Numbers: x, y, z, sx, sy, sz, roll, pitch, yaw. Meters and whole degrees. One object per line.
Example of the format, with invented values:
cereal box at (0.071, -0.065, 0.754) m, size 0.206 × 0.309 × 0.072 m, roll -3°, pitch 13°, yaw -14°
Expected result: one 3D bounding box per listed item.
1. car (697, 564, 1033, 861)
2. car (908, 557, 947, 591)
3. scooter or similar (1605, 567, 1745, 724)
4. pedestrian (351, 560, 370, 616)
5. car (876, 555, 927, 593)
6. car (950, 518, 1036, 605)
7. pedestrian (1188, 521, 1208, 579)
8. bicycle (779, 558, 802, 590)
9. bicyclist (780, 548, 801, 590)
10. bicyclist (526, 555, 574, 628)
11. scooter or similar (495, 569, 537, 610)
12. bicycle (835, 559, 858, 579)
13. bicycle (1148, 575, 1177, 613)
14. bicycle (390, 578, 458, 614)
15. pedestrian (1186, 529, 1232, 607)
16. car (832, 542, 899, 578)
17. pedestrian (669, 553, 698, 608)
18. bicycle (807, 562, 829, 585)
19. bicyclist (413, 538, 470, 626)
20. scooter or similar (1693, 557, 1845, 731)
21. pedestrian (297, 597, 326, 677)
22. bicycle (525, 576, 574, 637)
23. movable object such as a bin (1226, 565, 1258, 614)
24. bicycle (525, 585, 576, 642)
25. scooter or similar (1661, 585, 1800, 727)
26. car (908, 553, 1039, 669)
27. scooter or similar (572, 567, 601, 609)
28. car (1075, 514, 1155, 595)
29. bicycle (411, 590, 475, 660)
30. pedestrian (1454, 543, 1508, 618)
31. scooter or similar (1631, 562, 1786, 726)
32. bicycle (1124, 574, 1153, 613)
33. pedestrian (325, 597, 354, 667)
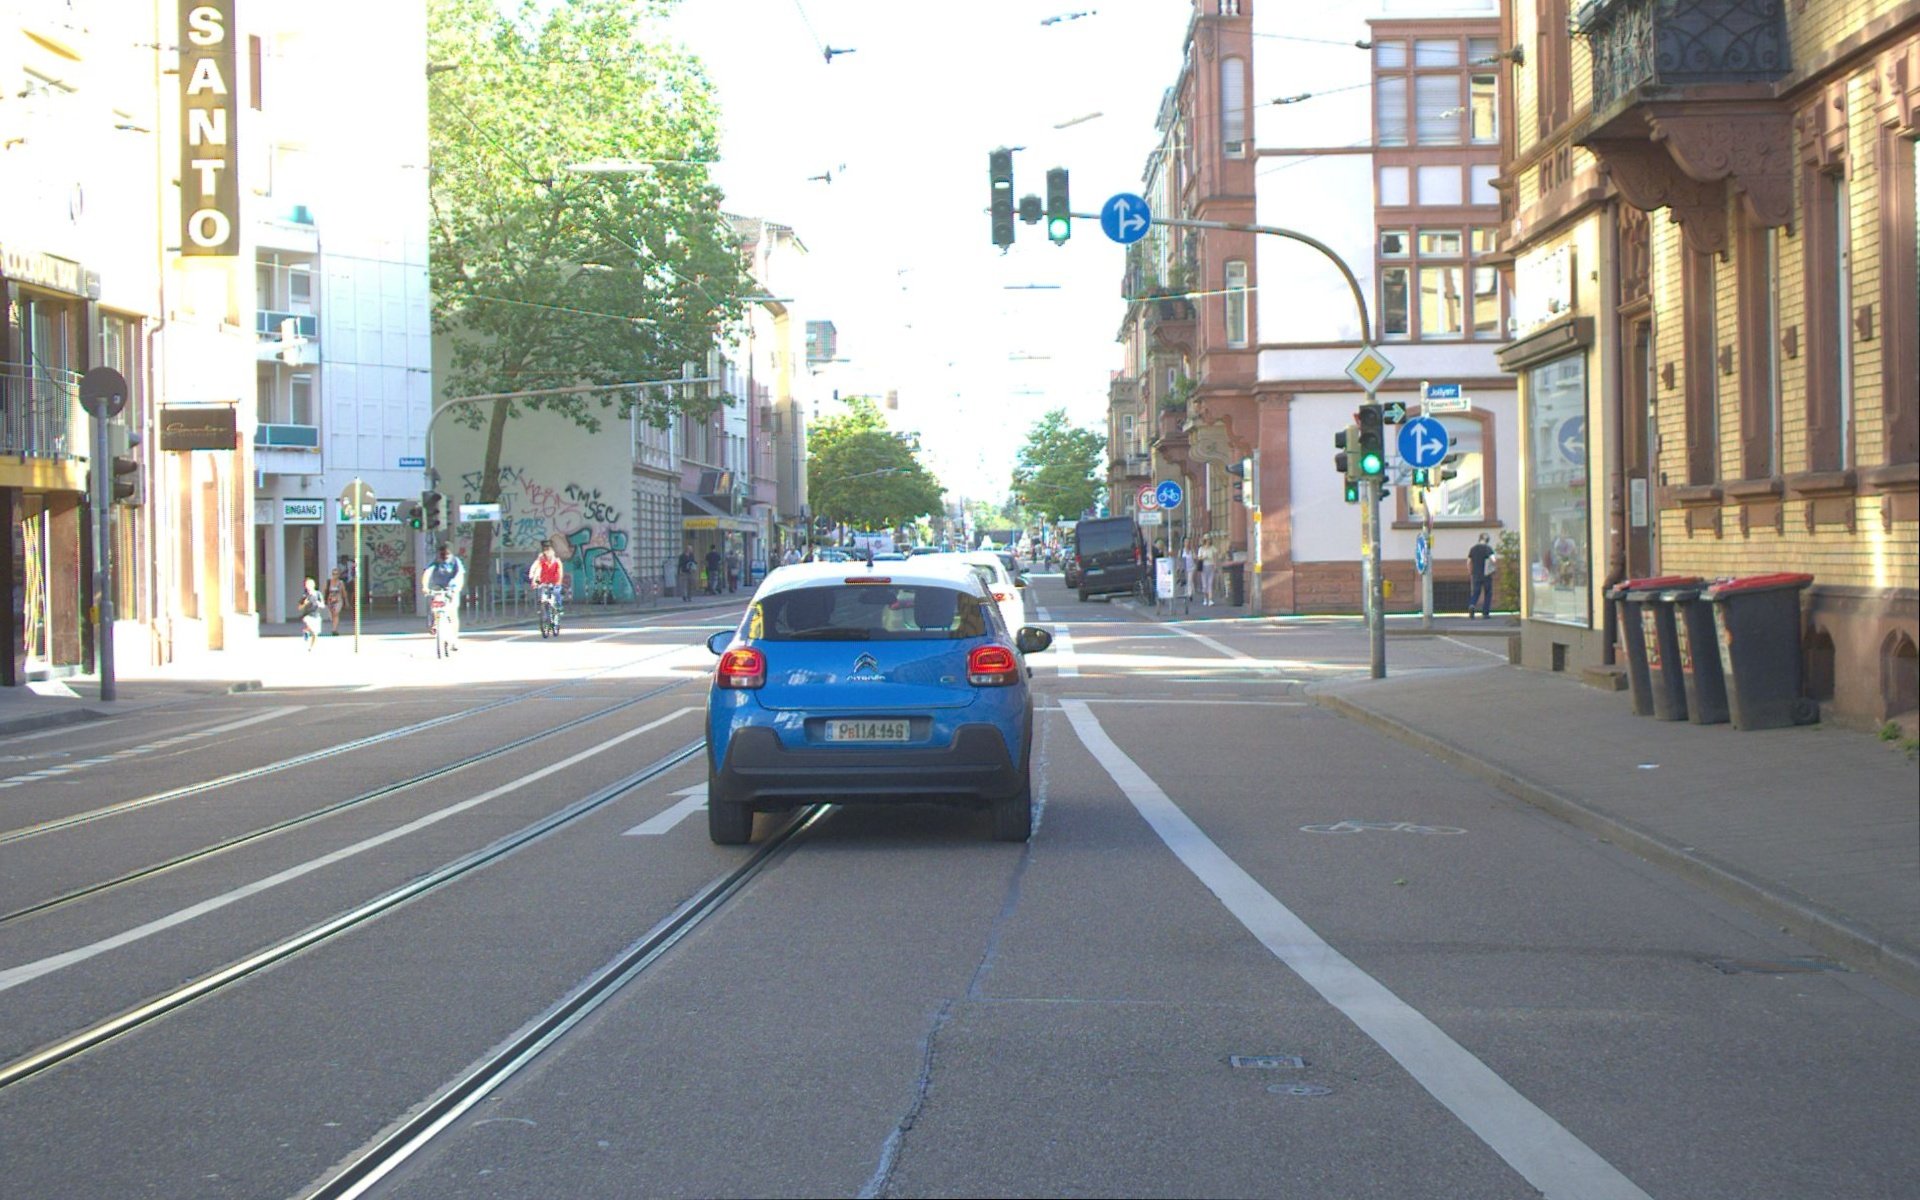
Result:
car at (-0.486, 0.547, 19.312) m, size 1.674 × 1.472 × 4.000 m, roll -1°, pitch 1°, yaw 0°
car at (-1.682, -1.383, 180.248) m, size 1.993 × 1.738 × 4.563 m, roll -1°, pitch 1°, yaw 0°
scooter or similar at (5.618, 0.353, 27.035) m, size 0.897 × 1.144 × 0.547 m, roll -5°, pitch 1°, yaw 0°
pedestrian at (-18.517, -0.362, 106.153) m, size 0.456 × 1.712 × 0.547 m, roll -1°, pitch 1°, yaw 0°
car at (-2.377, -1.070, 141.044) m, size 1.985 × 1.497 × 4.308 m, roll -1°, pitch 1°, yaw 0°
car at (0.777, -0.930, 83.026) m, size 1.993 × 2.007 × 4.000 m, roll -1°, pitch 1°, yaw 0°
pedestrian at (7.345, -1.551, 106.234) m, size 0.553 × 1.776 × 0.606 m, roll -1°, pitch 1°, yaw 0°
bicycle at (-6.002, -0.941, 122.018) m, size 0.692 × 1.116 × 2.084 m, roll -1°, pitch 1°, yaw 0°
bicyclist at (-6.017, -1.103, 122.233) m, size 0.682 × 1.478 × 0.778 m, roll -1°, pitch 1°, yaw 0°
bicyclist at (-7.840, -0.167, 65.765) m, size 0.735 × 1.376 × 1.469 m, roll -1°, pitch 1°, yaw 0°
scooter or similar at (-13.701, -0.334, 105.981) m, size 1.227 × 1.253 × 0.768 m, roll -1°, pitch 1°, yaw -11°
bicycle at (-6.585, -1.791, 199.357) m, size 1.120 × 1.142 × 3.645 m, roll -1°, pitch 1°, yaw -4°
bicycle at (5.102, -0.161, 86.844) m, size 0.431 × 0.944 × 1.764 m, roll -1°, pitch 1°, yaw -6°
bicycle at (-15.586, -0.122, 99.894) m, size 1.919 × 1.031 × 0.664 m, roll 0°, pitch 1°, yaw 27°
pedestrian at (6.064, -0.784, 83.753) m, size 0.705 × 1.776 × 0.673 m, roll -12°, pitch 1°, yaw 0°
car at (-6.803, -2.911, 248.100) m, size 4.307 × 2.572 × 2.210 m, roll -1°, pitch 1°, yaw -24°
pedestrian at (-8.988, -0.632, 111.791) m, size 0.682 × 1.759 × 1.025 m, roll 0°, pitch 1°, yaw 12°
bicycle at (-8.233, -1.531, 199.150) m, size 1.120 × 1.315 × 3.645 m, roll -1°, pitch 1°, yaw -4°
bicyclist at (-8.310, -0.294, 55.142) m, size 0.724 × 1.376 × 1.228 m, roll -1°, pitch 1°, yaw 0°
scooter or similar at (5.715, 0.303, 24.332) m, size 0.790 × 1.144 × 0.790 m, roll -5°, pitch 1°, yaw 0°
pedestrian at (-11.508, 0.659, 61.040) m, size 0.404 × 1.405 × 0.516 m, roll 0°, pitch 0°, yaw 0°
bicycle at (-8.218, 0.127, 68.848) m, size 0.730 × 1.179 × 2.062 m, roll -1°, pitch 1°, yaw 0°
movable object such as a bin at (6.651, -0.248, 81.067) m, size 0.666 × 1.150 × 0.594 m, roll -1°, pitch 1°, yaw -1°
bicycle at (-7.831, 0.250, 65.873) m, size 0.730 × 1.062 × 2.062 m, roll -1°, pitch 1°, yaw 0°
scooter or similar at (5.660, 0.406, 25.277) m, size 0.790 × 0.954 × 0.680 m, roll -5°, pitch 1°, yaw 0°
car at (0.171, 0.114, 46.830) m, size 1.667 × 1.473 × 4.000 m, roll -1°, pitch 1°, yaw 0°
scooter or similar at (-11.657, -0.380, 107.384) m, size 0.788 × 1.267 × 1.075 m, roll -1°, pitch 1°, yaw 0°
car at (4.791, -1.428, 107.121) m, size 2.271 × 2.428 × 5.720 m, roll -1°, pitch 1°, yaw 1°
bicycle at (-8.312, 0.389, 55.324) m, size 0.730 × 1.084 × 2.062 m, roll -1°, pitch 1°, yaw 0°
pedestrian at (10.257, -0.388, 67.655) m, size 0.939 × 1.452 × 0.822 m, roll 0°, pitch 1°, yaw 17°
scooter or similar at (5.651, 0.325, 26.001) m, size 0.933 × 1.144 × 0.650 m, roll -5°, pitch 1°, yaw 0°
bicycle at (4.502, -0.172, 86.808) m, size 0.431 × 0.944 × 1.764 m, roll -1°, pitch 1°, yaw -6°
pedestrian at (-13.885, 0.709, 76.976) m, size 0.542 × 1.547 × 0.516 m, roll -1°, pitch 1°, yaw 0°
